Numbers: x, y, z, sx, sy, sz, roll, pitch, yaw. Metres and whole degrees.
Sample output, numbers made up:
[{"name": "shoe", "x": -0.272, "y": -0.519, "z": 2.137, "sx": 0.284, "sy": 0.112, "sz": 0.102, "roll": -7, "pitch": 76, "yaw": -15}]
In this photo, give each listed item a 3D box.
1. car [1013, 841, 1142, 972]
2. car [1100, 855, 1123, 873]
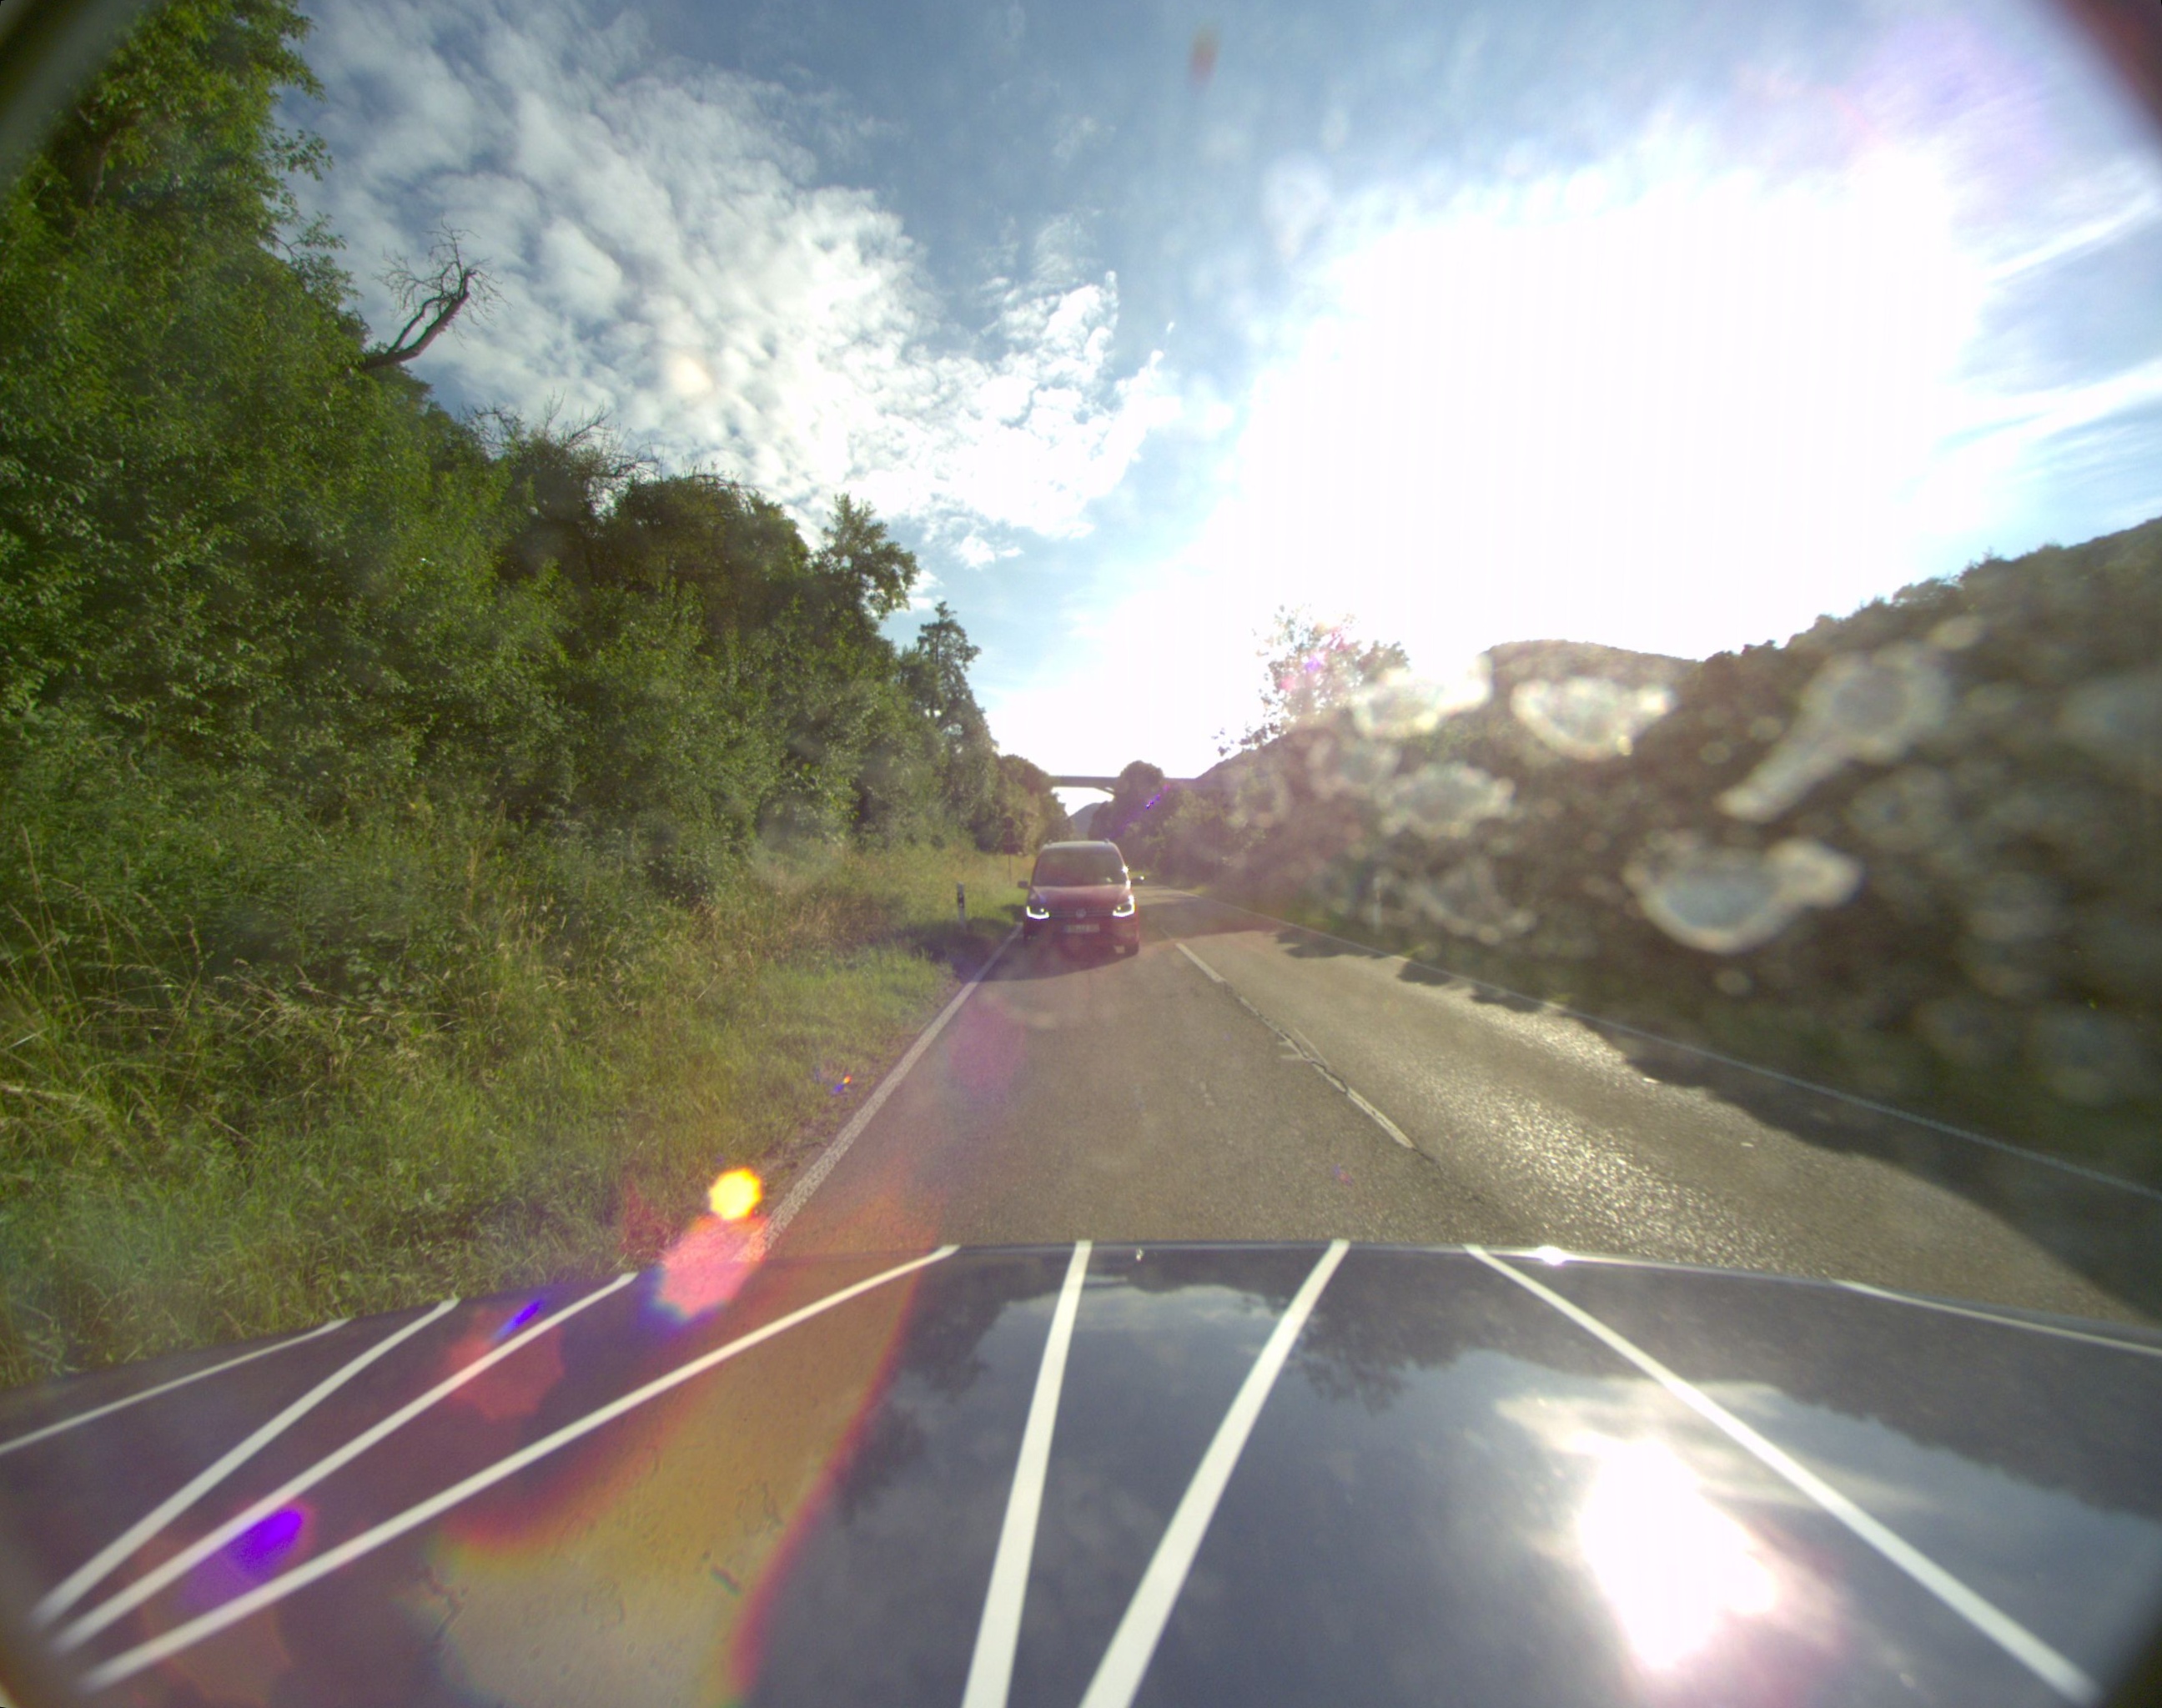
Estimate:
[{"name": "car", "x": -0.039, "y": 0.727, "z": 12.930, "sx": 1.753, "sy": 1.800, "sz": 4.287, "roll": -2, "pitch": 1, "yaw": 0}, {"name": "car", "x": 2.509, "y": 0.781, "z": 62.562, "sx": 1.632, "sy": 1.407, "sz": 3.788, "roll": 0, "pitch": 1, "yaw": -2}]
